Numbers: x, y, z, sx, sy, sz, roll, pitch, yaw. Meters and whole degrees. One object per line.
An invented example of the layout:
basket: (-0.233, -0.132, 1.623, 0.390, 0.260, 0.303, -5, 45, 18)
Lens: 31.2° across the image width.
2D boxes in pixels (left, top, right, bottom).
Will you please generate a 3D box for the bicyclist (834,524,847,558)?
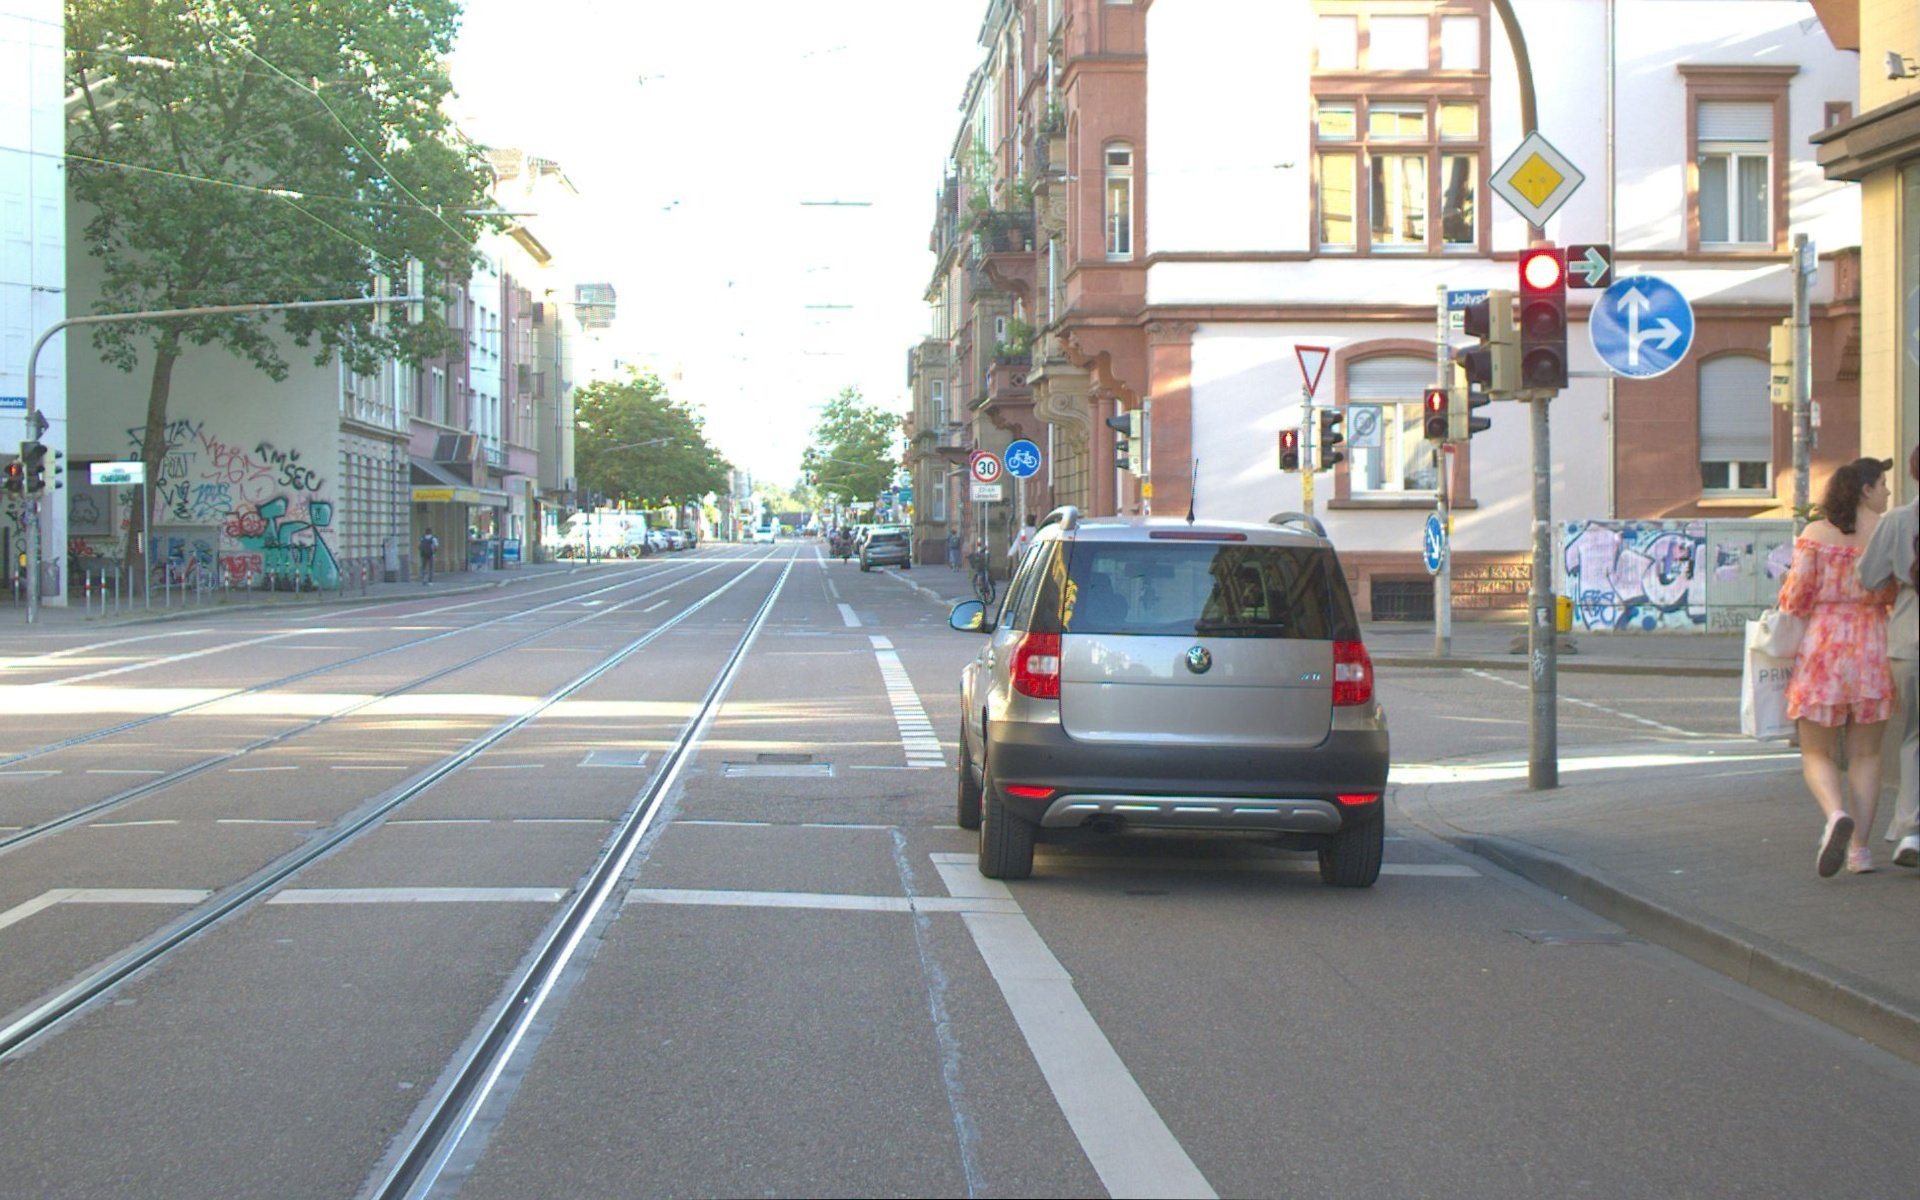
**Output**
bicyclist: (-5.468, -2.708, 157.120, 0.575, 1.548, 0.595, -1, 1, -1)

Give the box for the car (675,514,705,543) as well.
car: (-19.422, -5.169, 247.470, 1.993, 2.006, 4.001, -1, 2, -3)

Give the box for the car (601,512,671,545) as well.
car: (-20.899, -4.588, 221.468, 3.986, 2.006, 2.000, -2, 2, -27)

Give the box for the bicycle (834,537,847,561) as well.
bicycle: (-5.457, -2.336, 157.135, 0.575, 1.026, 1.895, -1, 2, -1)

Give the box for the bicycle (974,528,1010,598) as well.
bicycle: (0.621, -0.727, 67.197, 0.653, 1.319, 2.177, -1, 2, 0)

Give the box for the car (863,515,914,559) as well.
car: (-2.834, -2.512, 136.267, 1.950, 1.678, 4.001, -1, 2, -1)

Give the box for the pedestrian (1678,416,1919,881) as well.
pedestrian: (3.530, 0.179, 14.145, 0.805, 1.793, 0.762, -5, 2, -3)

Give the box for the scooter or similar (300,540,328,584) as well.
scooter or similar: (-16.358, -0.967, 87.051, 0.516, 1.053, 1.479, -1, 2, -4)

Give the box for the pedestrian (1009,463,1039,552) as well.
pedestrian: (1.277, -1.854, 68.773, 0.544, 1.774, 0.504, -1, 1, -1)

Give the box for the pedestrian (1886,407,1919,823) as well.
pedestrian: (3.483, 0.267, 10.521, 0.805, 1.793, 1.092, -5, 2, -3)

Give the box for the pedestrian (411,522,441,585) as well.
pedestrian: (-14.869, -1.290, 95.724, 0.701, 1.722, 0.648, -1, 2, -2)

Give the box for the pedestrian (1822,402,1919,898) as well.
pedestrian: (3.940, 0.162, 13.636, 0.690, 1.902, 0.670, -5, 2, -3)

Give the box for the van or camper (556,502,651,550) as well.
van or camper: (-19.278, -4.014, 185.900, 4.635, 2.554, 2.000, -1, 1, -33)

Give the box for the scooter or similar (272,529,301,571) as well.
scooter or similar: (-17.043, -1.272, 86.985, 0.516, 1.042, 1.479, -1, 2, -4)

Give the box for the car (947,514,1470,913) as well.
car: (1.036, 0.431, 16.422, 1.993, 1.612, 4.001, 2, 2, -3)
